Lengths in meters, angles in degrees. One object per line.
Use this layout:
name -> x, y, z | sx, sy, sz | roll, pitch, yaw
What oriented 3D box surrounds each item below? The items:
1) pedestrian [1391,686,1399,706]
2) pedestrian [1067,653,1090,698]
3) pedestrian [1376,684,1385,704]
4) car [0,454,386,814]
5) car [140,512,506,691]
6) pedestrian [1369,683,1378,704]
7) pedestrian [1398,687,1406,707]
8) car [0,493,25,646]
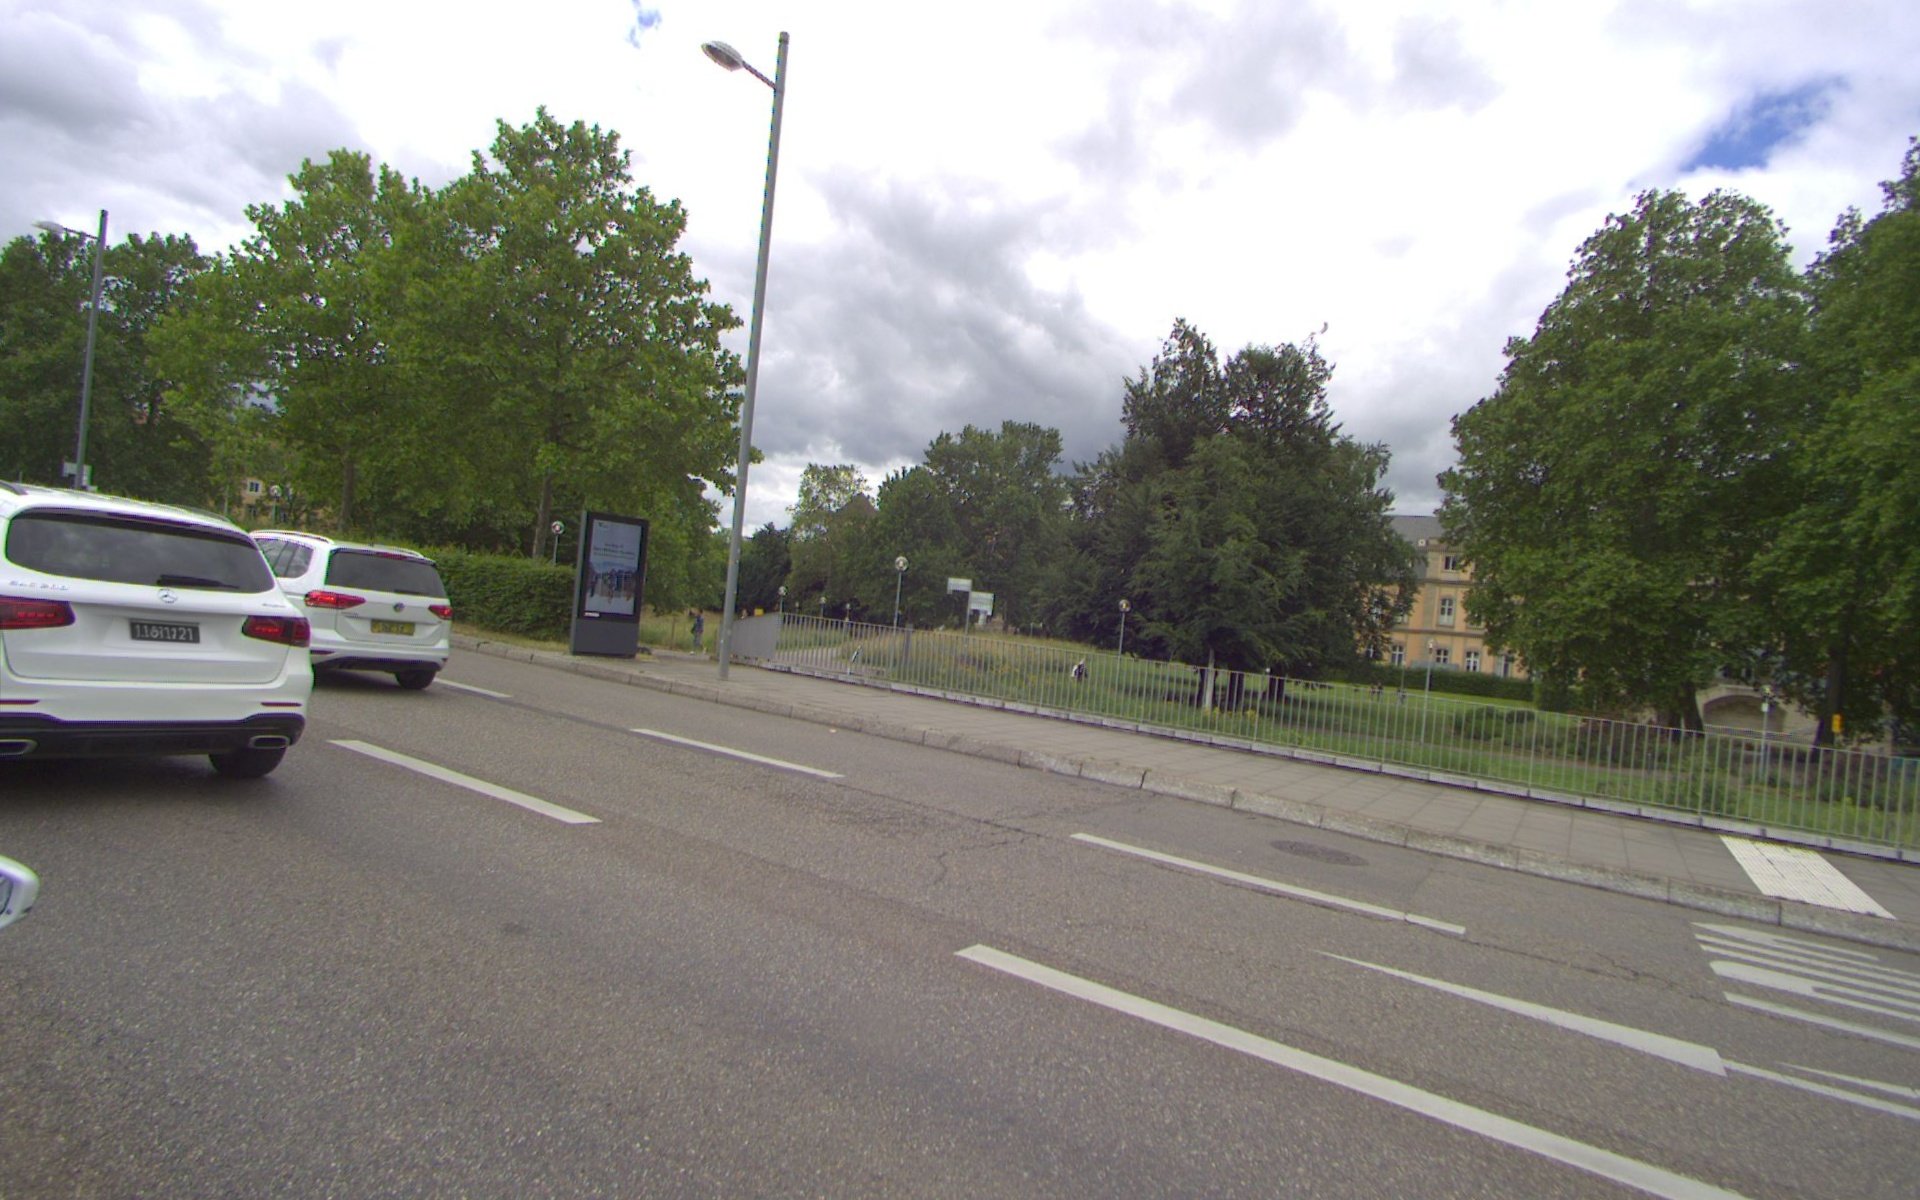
pedestrian -> 38.846, 8.552, 89.747 | 0.460, 1.756, 0.405 | 5, -3, 32
pedestrian -> 4.555, 2.907, 38.638 | 0.645, 1.619, 0.685 | 6, -2, 11
pedestrian -> 37.954, 8.511, 90.790 | 0.403, 1.756, 0.463 | 8, -3, -42
car -> -5.915, 0.006, 6.459 | 4.416, 1.673, 1.929 | 7, -1, 33
car -> -7.907, -0.002, 12.419 | 4.232, 1.659, 1.997 | 6, -1, 31
pedestrian -> 37.243, 8.409, 90.556 | 0.402, 1.756, 0.465 | 8, -3, -30
pedestrian -> 39.471, 8.652, 89.887 | 0.460, 1.724, 0.405 | 5, -3, 32
car -> -12.209, -0.569, 10.894 | 4.417, 1.568, 1.929 | 5, -2, 33
